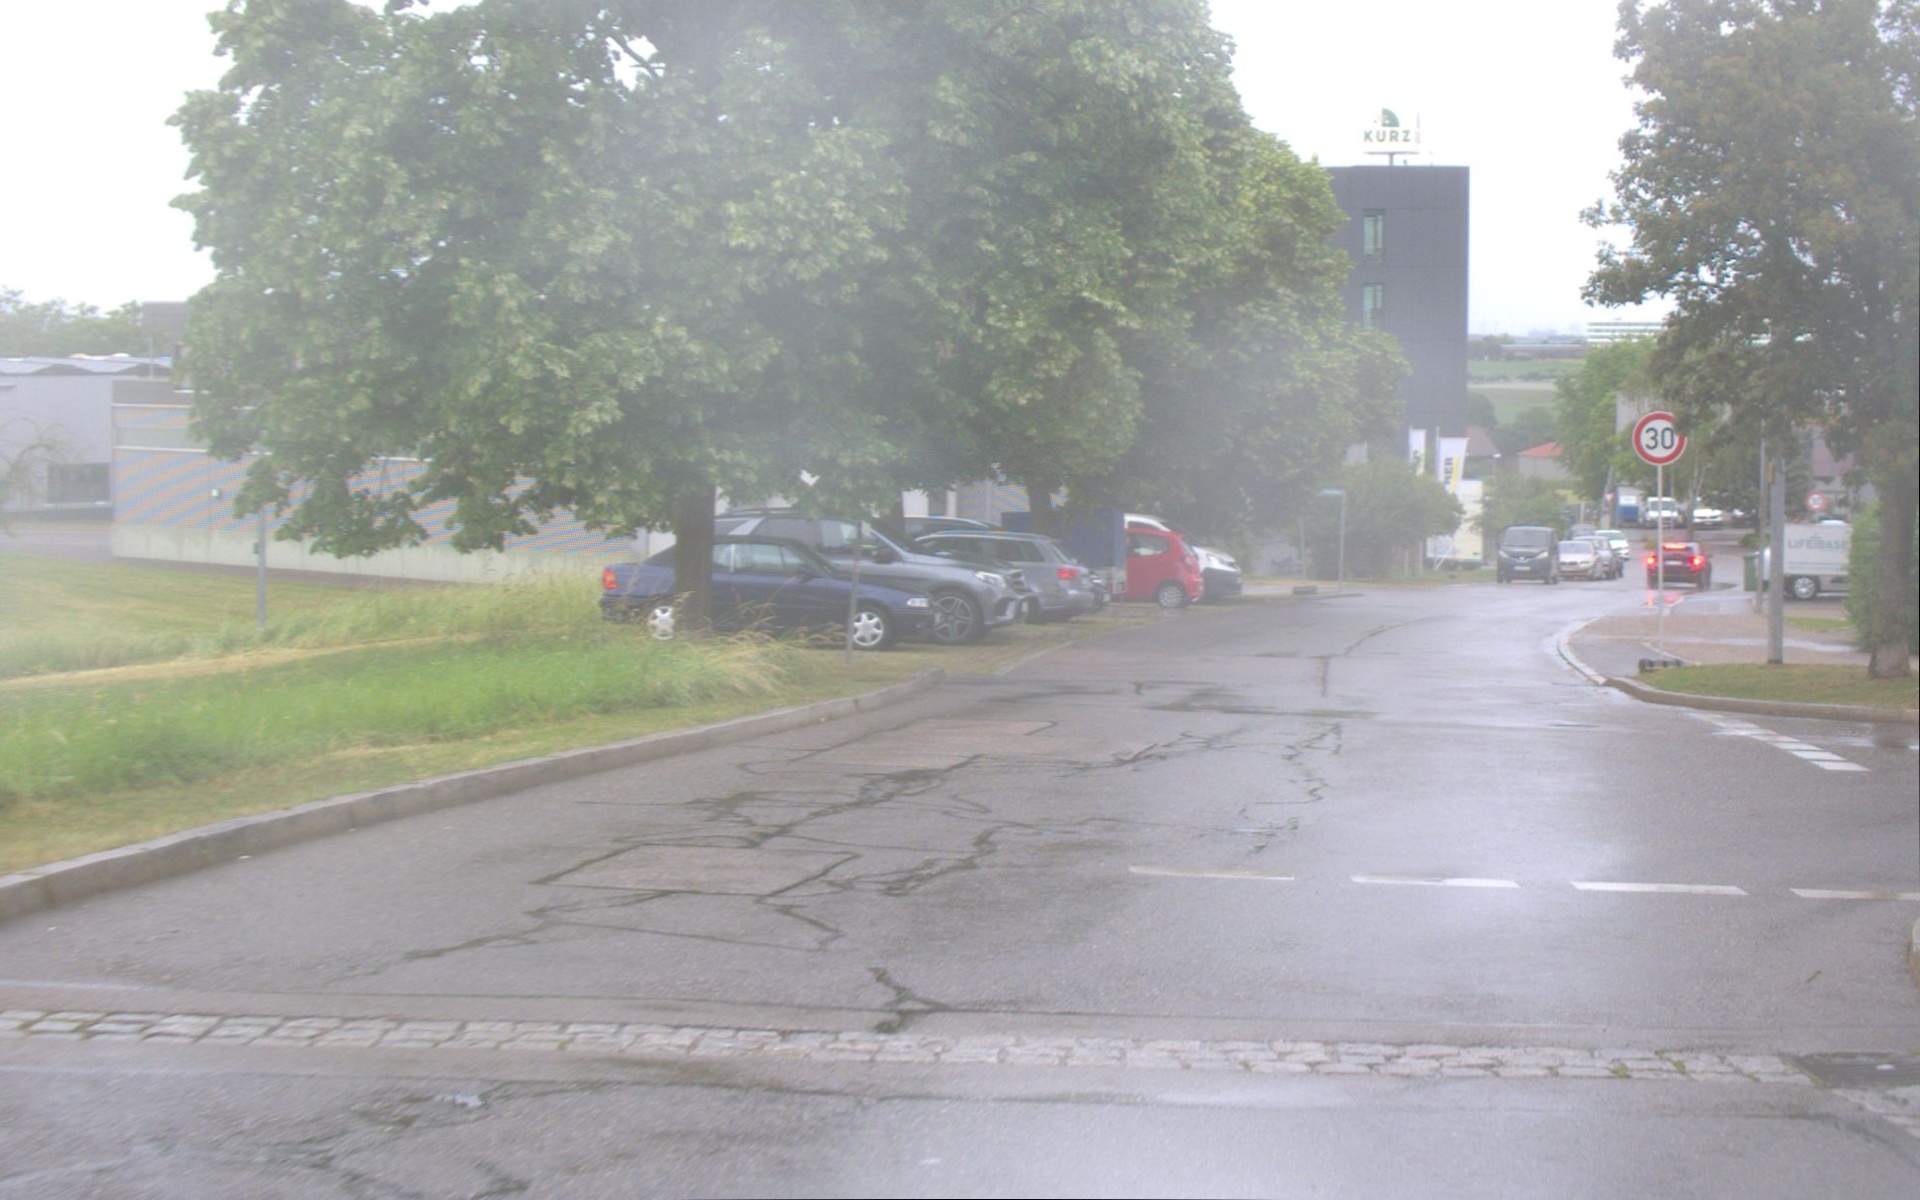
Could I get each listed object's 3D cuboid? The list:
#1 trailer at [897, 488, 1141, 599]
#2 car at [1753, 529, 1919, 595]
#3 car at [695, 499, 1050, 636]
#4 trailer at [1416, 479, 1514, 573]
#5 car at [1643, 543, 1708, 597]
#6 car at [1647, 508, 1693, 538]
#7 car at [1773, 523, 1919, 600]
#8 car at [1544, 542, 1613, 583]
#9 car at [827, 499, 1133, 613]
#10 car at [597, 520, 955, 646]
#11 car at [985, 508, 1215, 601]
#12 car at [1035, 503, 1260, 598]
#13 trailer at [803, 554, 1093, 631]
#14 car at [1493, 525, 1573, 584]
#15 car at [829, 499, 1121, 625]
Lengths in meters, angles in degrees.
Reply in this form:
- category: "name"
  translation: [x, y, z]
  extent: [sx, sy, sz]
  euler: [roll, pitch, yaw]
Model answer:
- category: "trailer"
  translation: [1.106, -1.041, 63.741]
  extent: [4.215, 1.977, 1.773]
  euler: [1, 0, 13]
- category: "car"
  translation: [21.676, -0.936, 83.553]
  extent: [4.600, 1.533, 2.078]
  euler: [-1, 1, 15]
- category: "car"
  translation: [-1.126, -0.435, 45.410]
  extent: [4.369, 1.716, 2.044]
  euler: [1, 0, 9]
- category: "trailer"
  translation: [22.700, -3.311, 154.645]
  extent: [2.000, 4.188, 4.186]
  euler: [0, 1, -36]
- category: "car"
  translation: [22.906, -0.956, 110.040]
  extent: [1.957, 1.670, 4.470]
  euler: [1, 0, 12]
- category: "car"
  translation: [48.395, -5.236, 234.362]
  extent: [2.265, 2.007, 4.000]
  euler: [1, 1, 0]
- category: "car"
  translation: [21.331, -0.910, 80.718]
  extent: [4.343, 1.767, 2.088]
  euler: [1, 1, 14]
- category: "car"
  translation: [22.582, -1.386, 125.399]
  extent: [1.957, 1.456, 5.244]
  euler: [1, 1, 15]
- category: "car"
  translation: [0.341, -0.719, 55.952]
  extent: [4.620, 1.584, 1.805]
  euler: [3, 1, 13]
- category: "car"
  translation: [-2.265, -0.220, 42.931]
  extent: [4.213, 1.426, 1.774]
  euler: [2, 1, 5]
- category: "car"
  translation: [2.711, -0.880, 66.231]
  extent: [4.197, 1.716, 1.754]
  euler: [1, 0, 10]
- category: "car"
  translation: [3.892, -1.032, 71.215]
  extent: [4.304, 1.899, 1.860]
  euler: [1, 1, 19]
- category: "trailer"
  translation: [-0.149, -0.124, 50.735]
  extent: [3.943, 0.957, 1.999]
  euler: [2, 2, 11]
- category: "car"
  translation: [18.571, -1.465, 111.324]
  extent: [1.917, 1.825, 4.844]
  euler: [2, 1, 17]
- category: "car"
  translation: [0.251, -0.588, 53.376]
  extent: [4.077, 1.716, 2.024]
  euler: [3, 1, 14]
